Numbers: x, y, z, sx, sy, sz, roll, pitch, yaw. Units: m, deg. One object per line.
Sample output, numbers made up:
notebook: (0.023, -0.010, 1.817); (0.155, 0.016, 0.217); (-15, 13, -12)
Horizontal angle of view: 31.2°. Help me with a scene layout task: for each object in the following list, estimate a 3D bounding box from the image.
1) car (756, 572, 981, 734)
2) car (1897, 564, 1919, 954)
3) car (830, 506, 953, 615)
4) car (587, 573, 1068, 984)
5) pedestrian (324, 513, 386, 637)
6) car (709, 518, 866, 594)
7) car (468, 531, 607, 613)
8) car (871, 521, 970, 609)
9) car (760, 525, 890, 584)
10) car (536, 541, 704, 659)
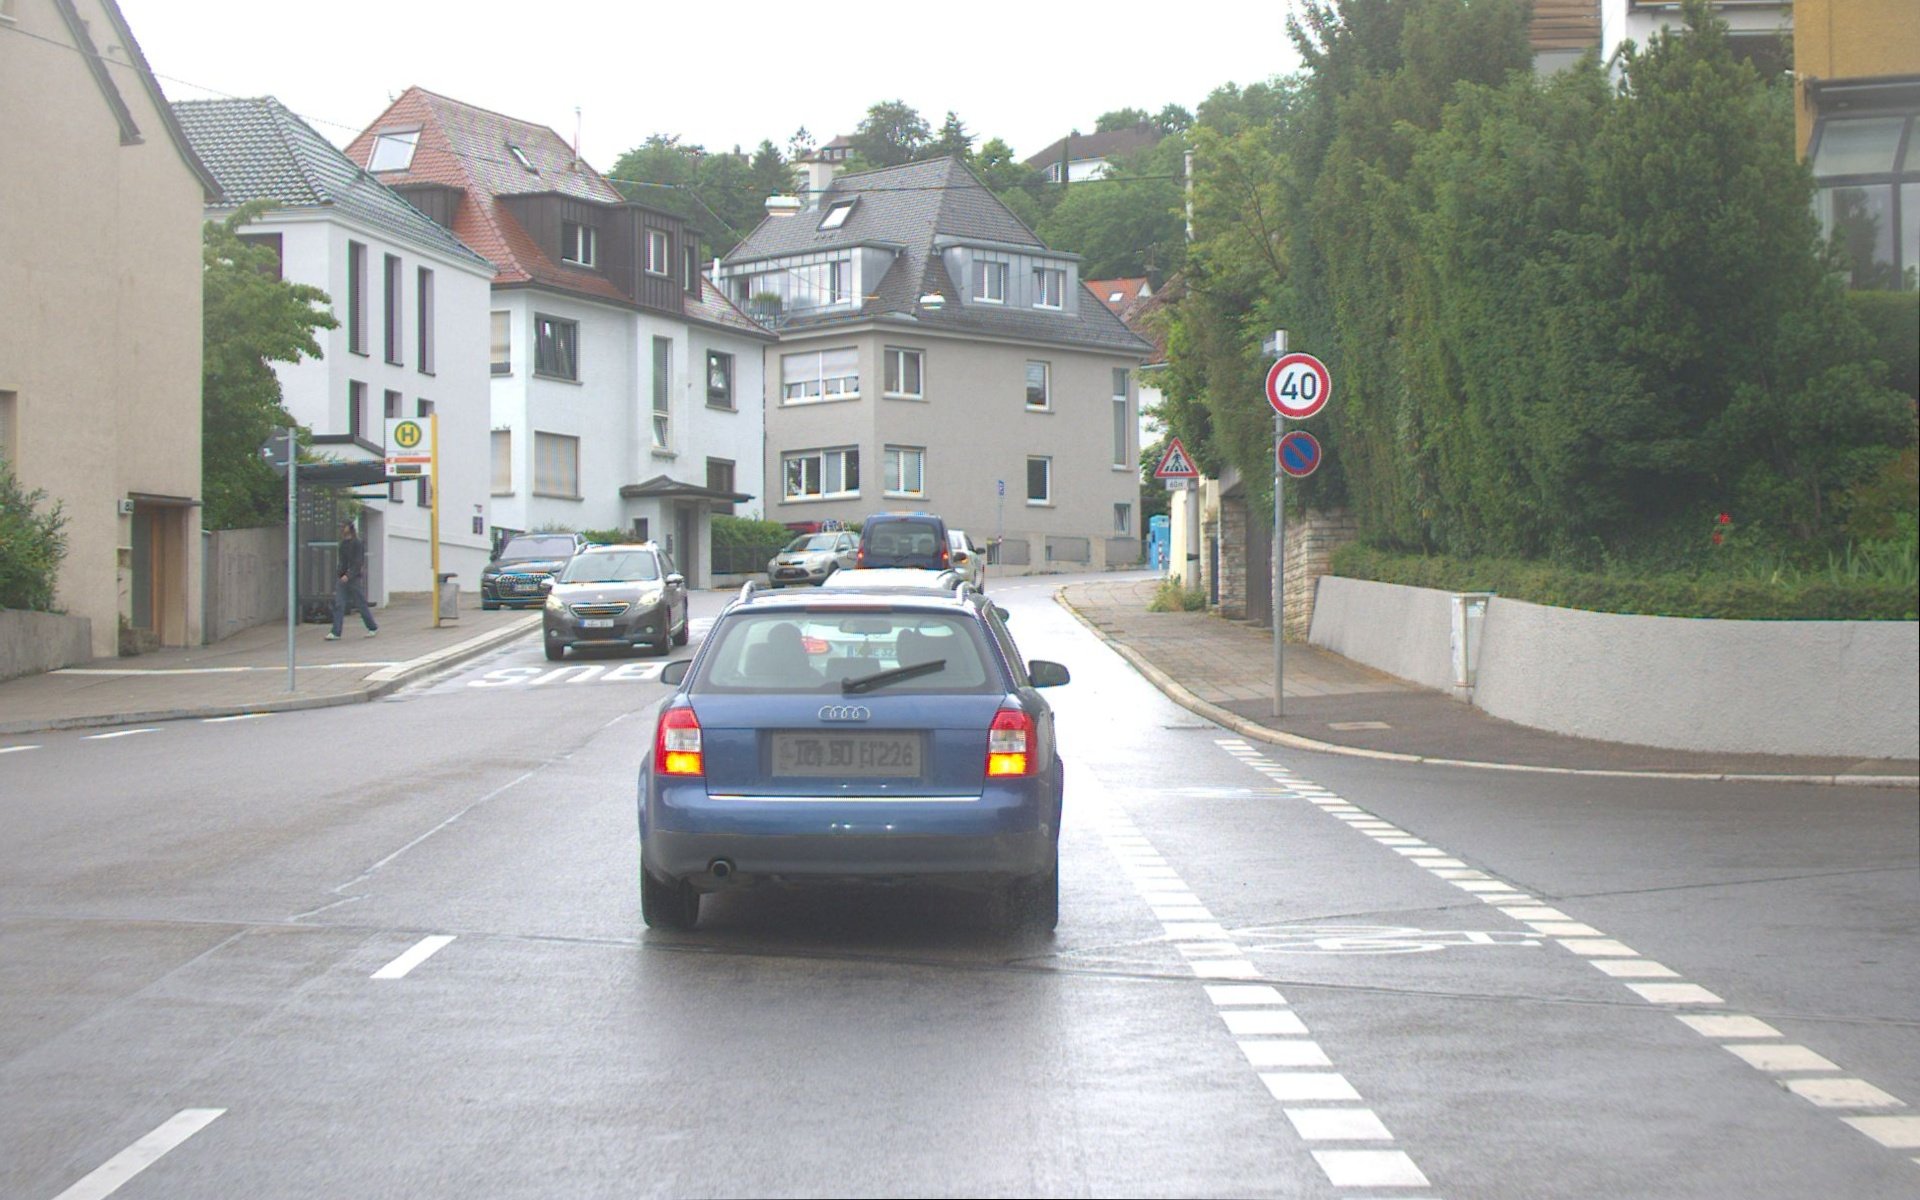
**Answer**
car: (-0.897, 0.440, 31.359); (1.811, 1.356, 4.001); (1, 0, -5)
car: (6.005, 0.626, 13.413); (4.187, 1.517, 2.001); (0, 1, -23)
car: (-1.112, -0.668, 57.237); (1.928, 1.700, 4.000); (-2, 1, 0)
car: (-0.500, 0.667, 15.180); (1.811, 1.434, 4.082); (1, 2, 0)
pedestrian: (-9.151, -0.386, 52.023); (0.786, 1.850, 0.728); (1, 1, 0)
car: (-5.046, -1.277, 100.706); (3.992, 1.816, 1.997); (-6, -1, 28)
car: (-8.074, -0.563, 66.084); (1.829, 1.480, 4.991); (-1, 1, 3)
car: (-0.809, -0.732, 70.485); (1.928, 1.700, 4.000); (-2, 1, -1)
car: (-3.568, -1.226, 91.589); (1.838, 1.420, 4.225); (-2, 1, 22)
car: (-4.746, -0.026, 48.411); (1.734, 1.540, 4.000); (-2, 1, 3)
